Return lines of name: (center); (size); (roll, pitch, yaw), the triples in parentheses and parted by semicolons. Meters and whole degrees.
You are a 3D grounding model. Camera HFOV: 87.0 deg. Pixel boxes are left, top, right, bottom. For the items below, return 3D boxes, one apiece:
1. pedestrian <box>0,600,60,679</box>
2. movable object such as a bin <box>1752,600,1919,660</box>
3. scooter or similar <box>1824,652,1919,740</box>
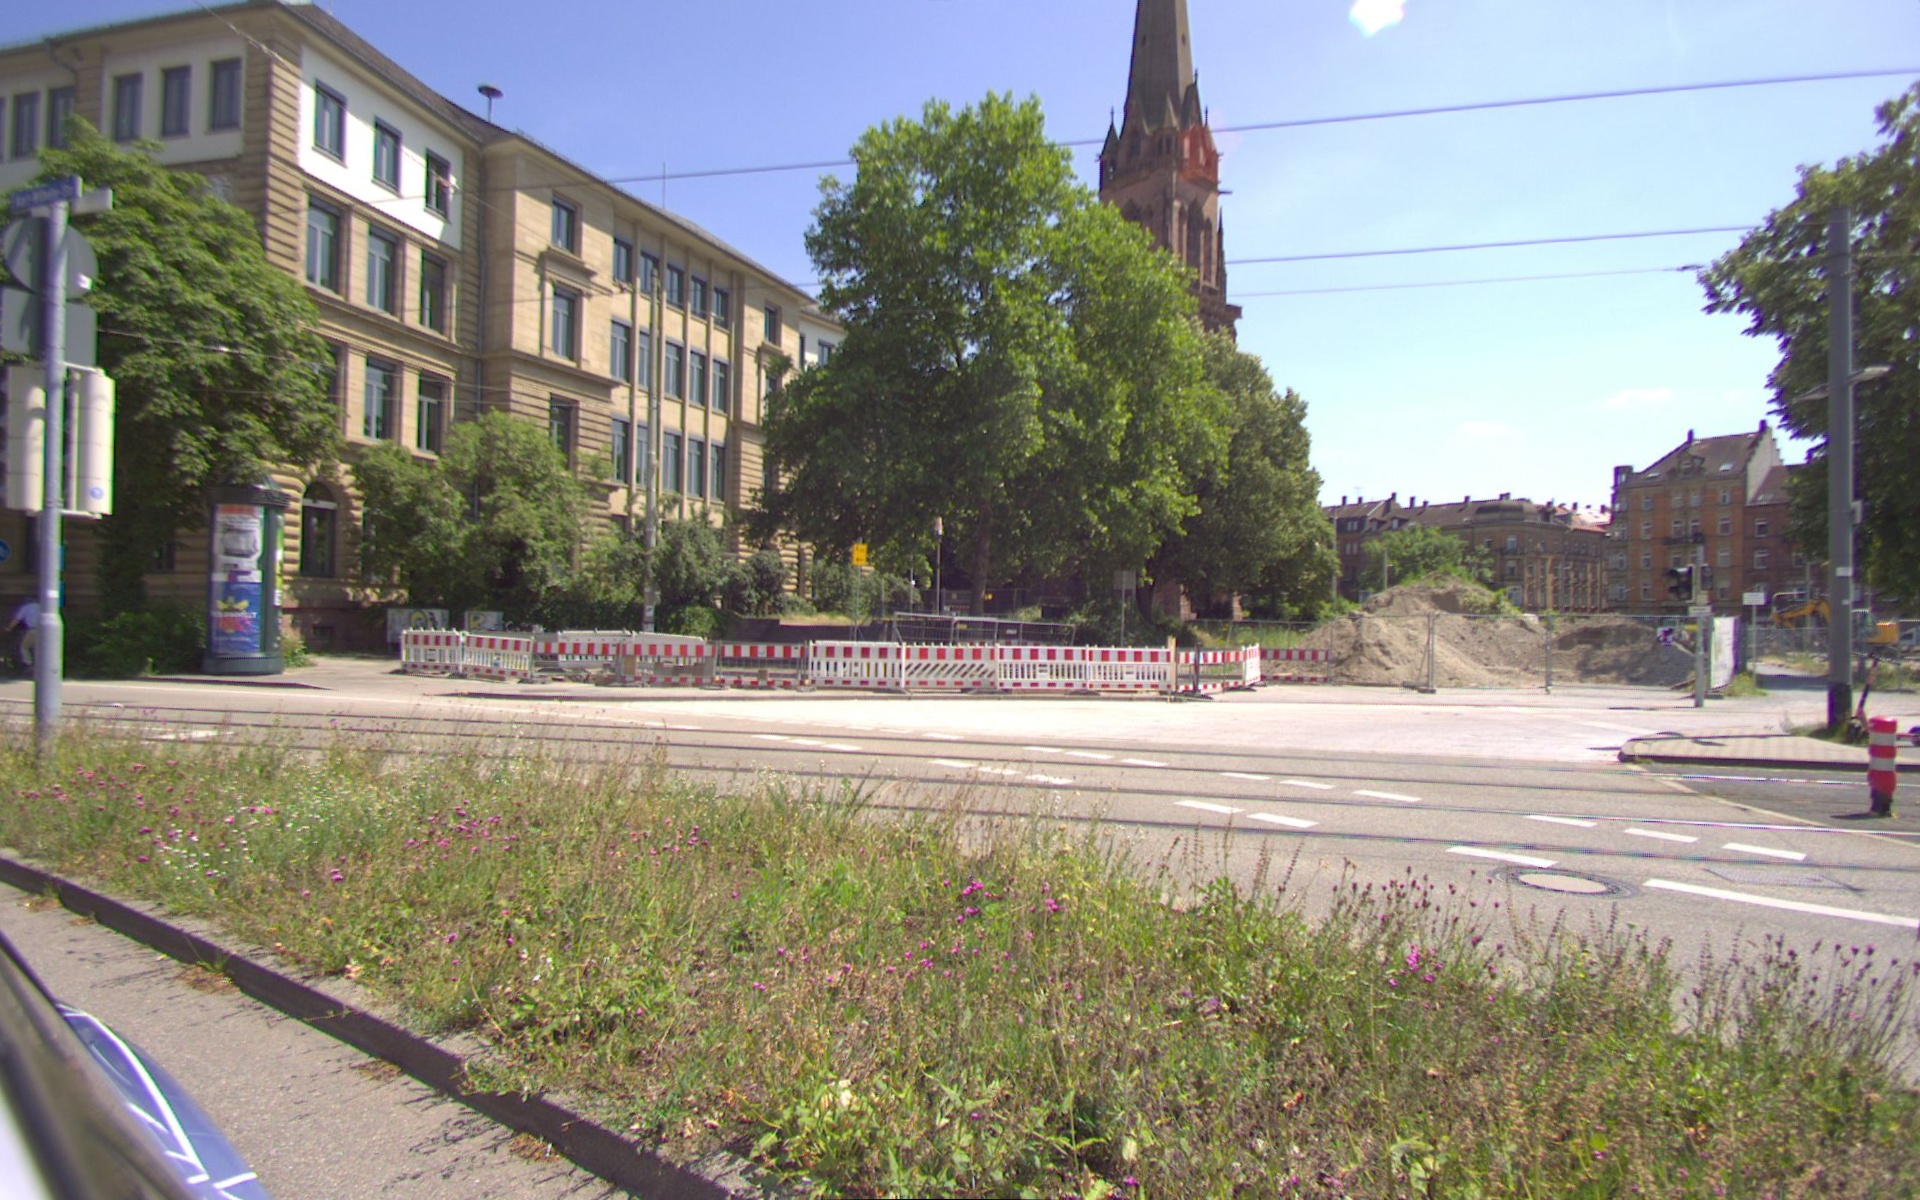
pedestrian: (-20.265, 0.849, 22.047); (0.639, 1.683, 0.720); (0, -2, 18)
movable object such as a bin: (53.463, 1.776, 61.761); (7.964, 3.414, 2.872); (-1, 0, 38)
scooter or similar: (11.959, 1.217, 12.882); (1.448, 1.068, 0.335); (-1, 0, 43)
